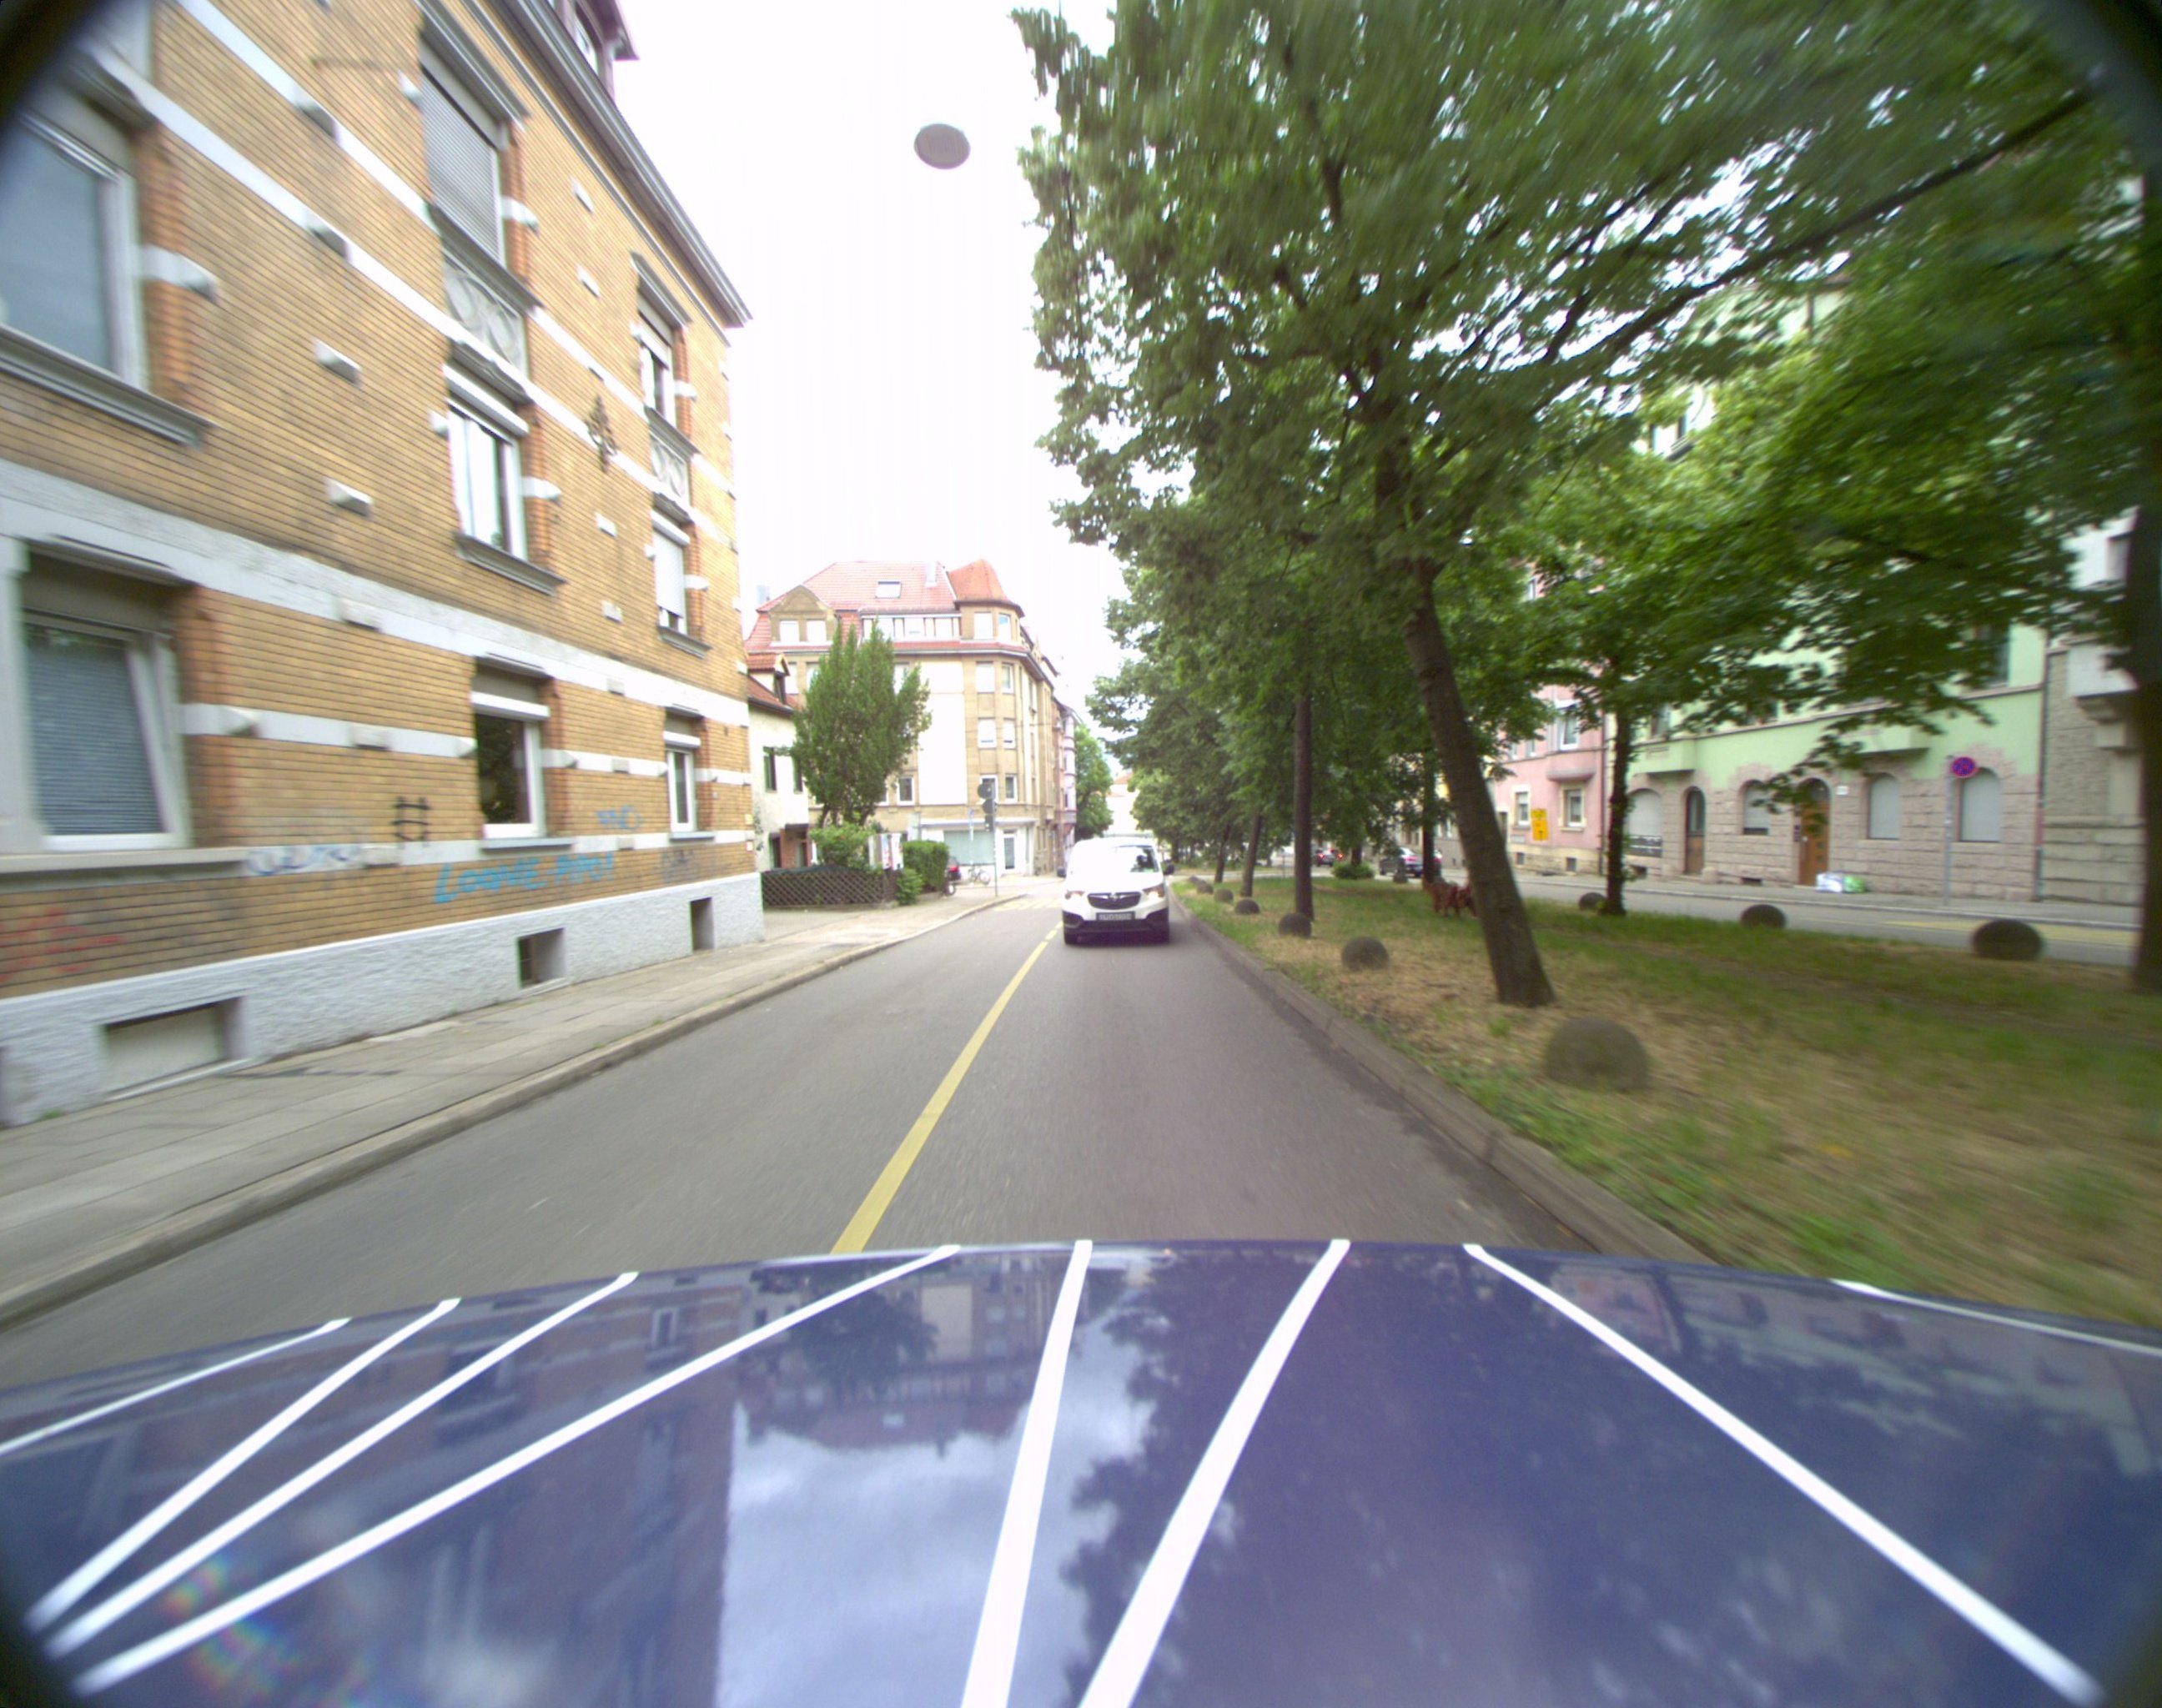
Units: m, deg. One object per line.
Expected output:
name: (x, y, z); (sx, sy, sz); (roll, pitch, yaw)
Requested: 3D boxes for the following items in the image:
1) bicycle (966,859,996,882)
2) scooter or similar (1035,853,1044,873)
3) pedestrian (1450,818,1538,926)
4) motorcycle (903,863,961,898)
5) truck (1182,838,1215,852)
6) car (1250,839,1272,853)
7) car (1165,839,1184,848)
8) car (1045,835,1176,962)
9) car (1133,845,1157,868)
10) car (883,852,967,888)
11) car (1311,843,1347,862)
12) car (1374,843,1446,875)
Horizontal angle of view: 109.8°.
bicycle: (-5.659, 0.918, 42.898); (0.642, 1.134, 2.068); (-7, 7, -39)
scooter or similar: (-2.650, 0.588, 48.827); (0.411, 1.202, 1.146); (1, -2, 5)
pedestrian: (6.862, 0.262, 12.687); (0.835, 1.703, 1.123); (2, 3, 5)
motorcycle: (-6.000, 1.052, 30.697); (2.060, 1.260, 1.010); (-3, 1, 1)
truck: (24.814, -1.916, 159.814); (6.465, 2.707, 2.766); (-1, 1, -29)
car: (22.119, -0.978, 93.529); (1.820, 1.627, 4.679); (0, 2, 4)
car: (18.947, -2.076, 153.753); (2.207, 1.563, 4.483); (-1, 3, 27)
car: (0.691, 0.664, 13.359); (1.856, 1.798, 4.732); (-2, 0, 7)
car: (6.027, 0.187, 71.745); (1.963, 1.938, 3.955); (-3, 2, 2)
car: (-8.593, 0.864, 42.178); (4.376, 1.638, 1.784); (-3, 5, -6)
car: (19.059, -0.077, 58.540); (1.712, 1.374, 4.670); (0, 0, 6)
car: (15.306, 0.238, 35.624); (1.762, 1.374, 4.670); (0, 0, 6)
